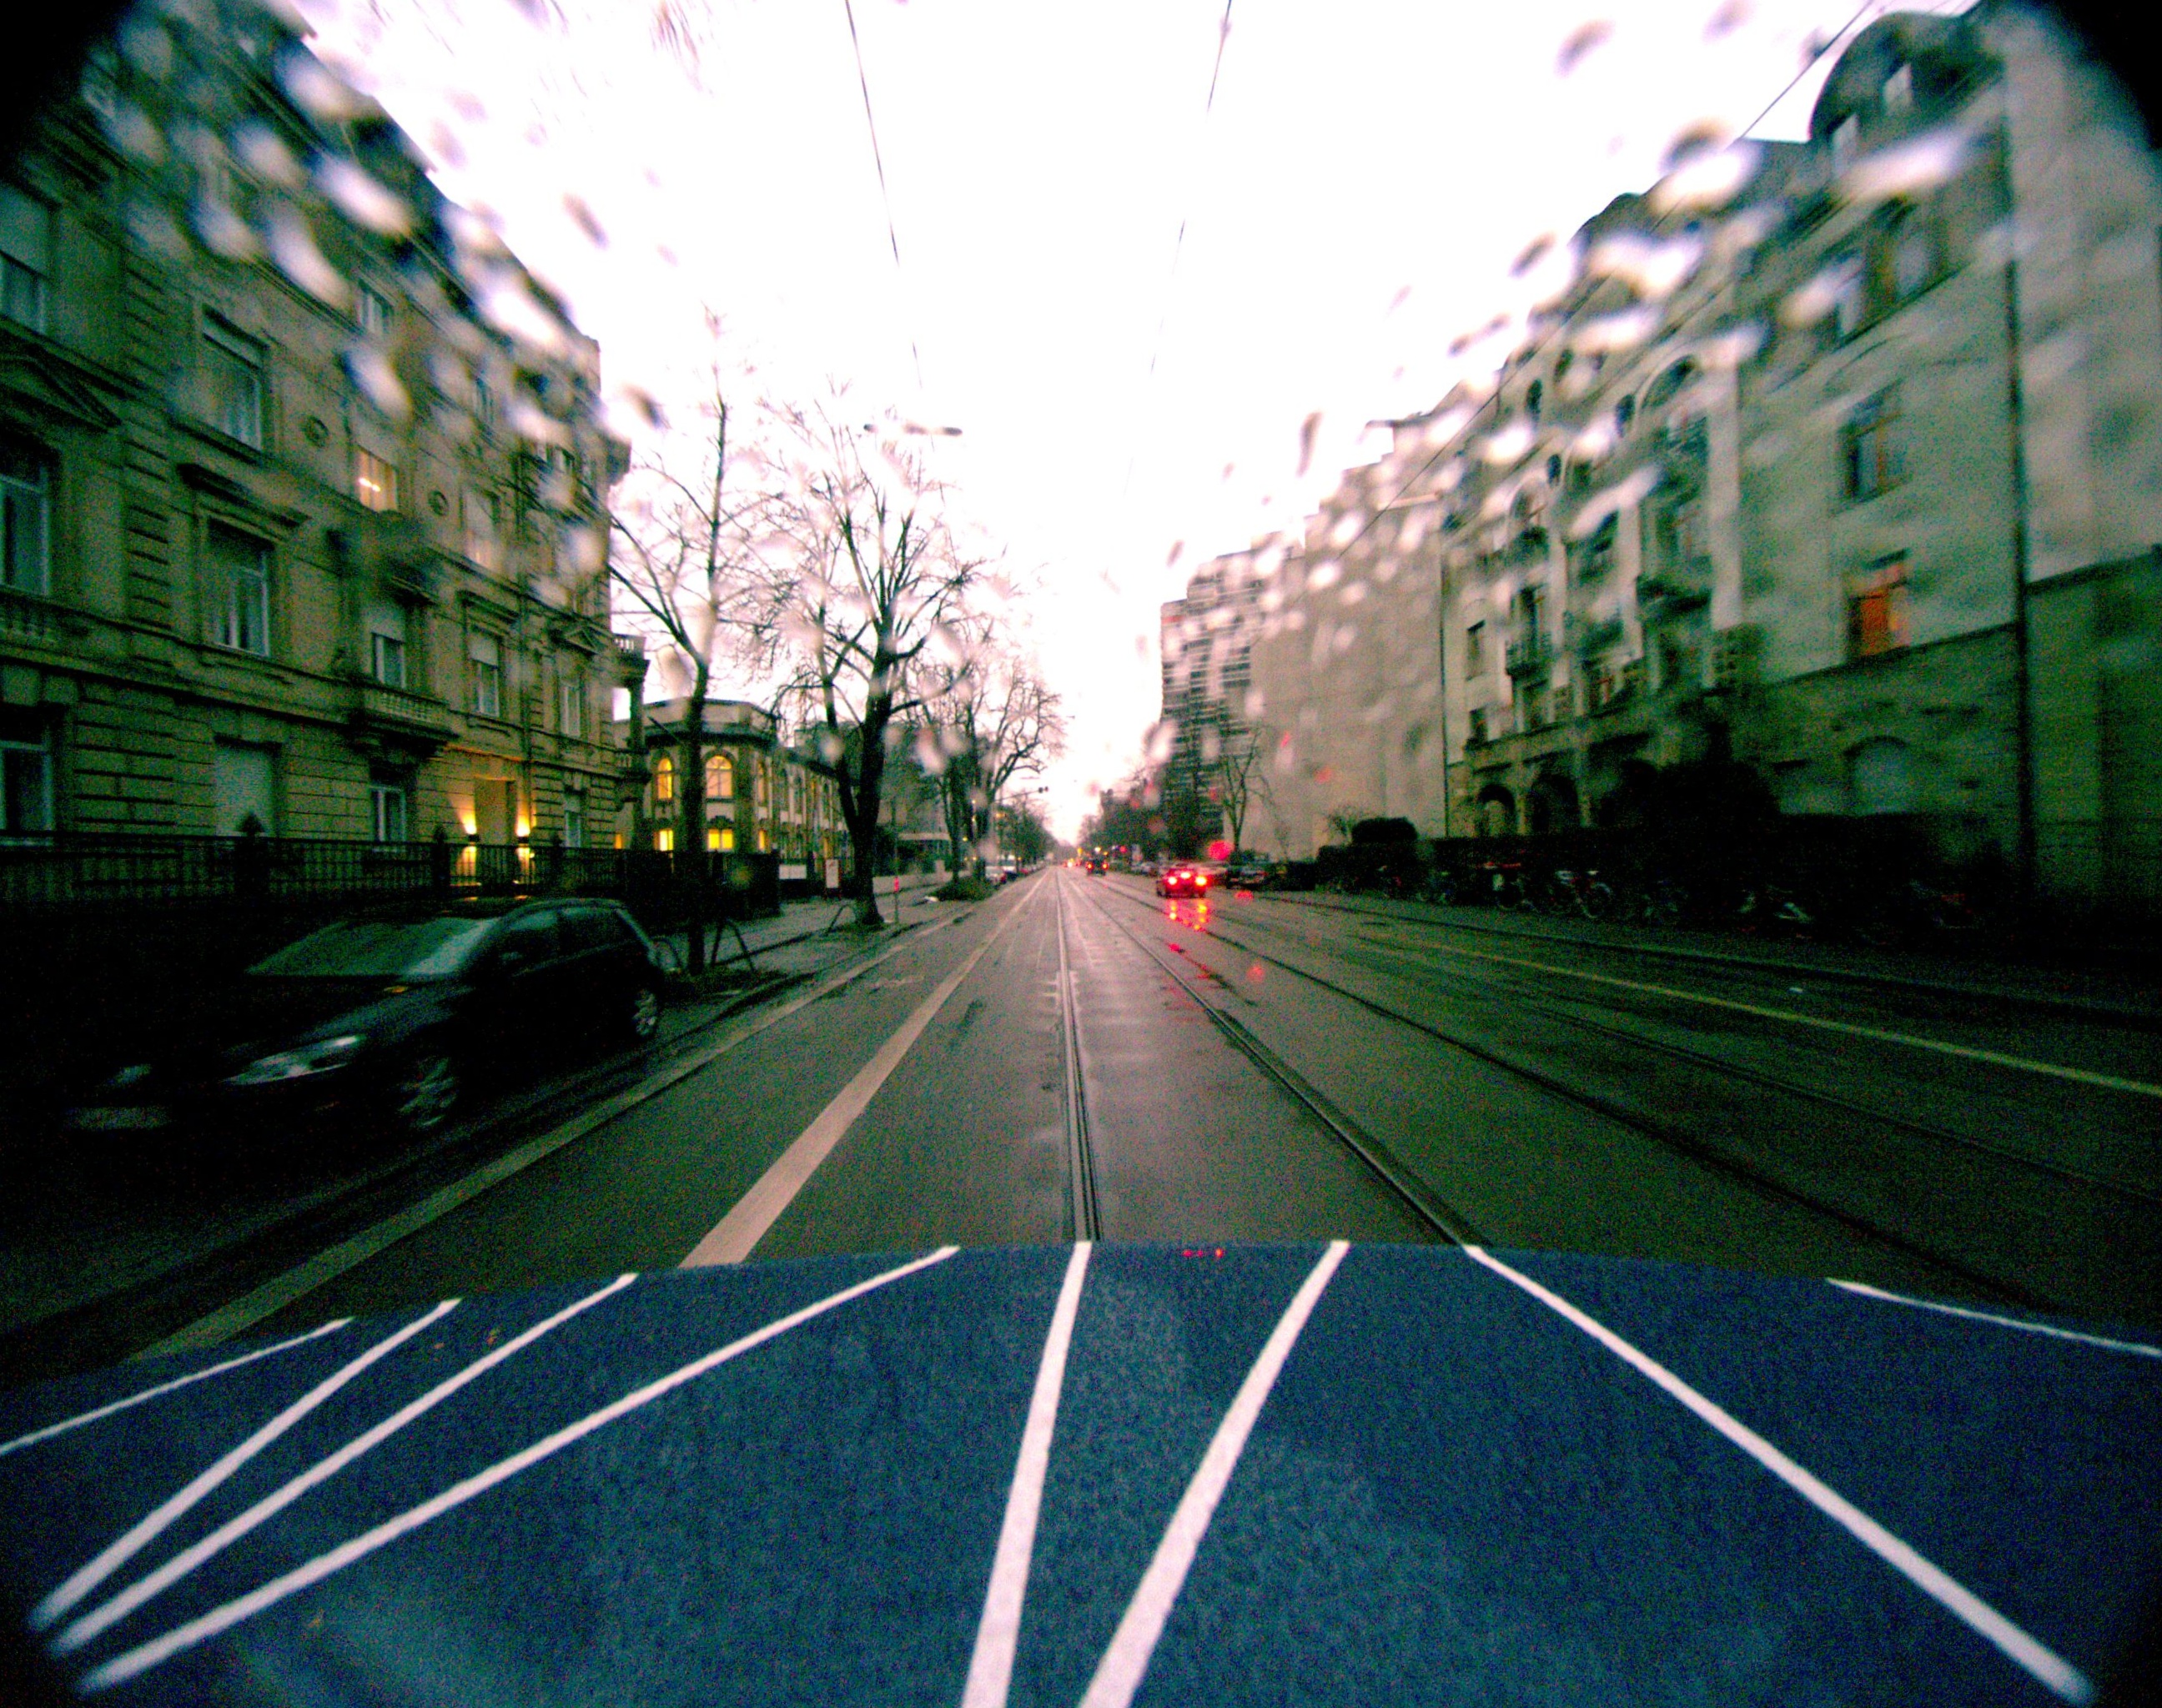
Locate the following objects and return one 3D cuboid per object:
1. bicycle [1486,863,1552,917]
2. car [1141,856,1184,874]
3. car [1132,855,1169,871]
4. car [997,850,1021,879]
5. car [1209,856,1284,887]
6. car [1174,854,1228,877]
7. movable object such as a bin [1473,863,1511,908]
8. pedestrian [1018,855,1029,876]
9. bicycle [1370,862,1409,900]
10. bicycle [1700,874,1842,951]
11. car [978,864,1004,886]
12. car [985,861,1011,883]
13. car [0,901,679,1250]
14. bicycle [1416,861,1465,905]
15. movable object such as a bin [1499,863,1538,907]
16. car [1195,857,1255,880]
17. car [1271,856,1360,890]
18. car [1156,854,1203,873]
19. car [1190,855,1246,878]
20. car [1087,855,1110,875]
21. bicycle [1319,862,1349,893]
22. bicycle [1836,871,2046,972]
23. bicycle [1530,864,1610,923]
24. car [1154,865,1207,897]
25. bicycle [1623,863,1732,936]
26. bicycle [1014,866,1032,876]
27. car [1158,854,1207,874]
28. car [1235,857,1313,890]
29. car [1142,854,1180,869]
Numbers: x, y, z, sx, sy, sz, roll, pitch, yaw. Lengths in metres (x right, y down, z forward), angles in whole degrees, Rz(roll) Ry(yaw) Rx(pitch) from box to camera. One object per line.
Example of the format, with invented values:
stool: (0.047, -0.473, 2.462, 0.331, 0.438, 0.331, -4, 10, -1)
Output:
bicycle: (10.482, 0.836, 18.236, 0.625, 1.205, 1.662, -2, 0, 1)
car: (7.938, 1.052, 74.135, 4.007, 1.586, 1.864, -2, 0, -38)
car: (8.048, 1.036, 87.519, 4.007, 1.586, 1.864, -2, 0, -38)
car: (-6.929, 0.951, 73.417, 2.093, 2.622, 5.447, -2, 1, -5)
car: (9.215, 0.949, 42.203, 4.007, 1.586, 1.864, -2, 0, -38)
car: (9.393, 0.896, 59.250, 4.007, 1.586, 1.864, -2, 0, -38)
movable object such as a bin: (11.144, 0.846, 20.615, 0.659, 1.157, 0.675, -2, 0, 1)
pedestrian: (-6.354, 1.259, 83.684, 1.118, 2.246, 0.952, -2, 1, -4)
bicycle: (10.096, 0.866, 24.915, 0.625, 1.205, 1.662, -2, 0, 1)
bicycle: (10.646, 0.860, 11.809, 0.625, 1.059, 1.727, -2, 0, 1)
car: (-6.320, 1.442, 53.756, 1.628, 1.399, 3.998, -2, 1, -5)
car: (-6.889, 1.492, 63.534, 1.999, 1.672, 3.998, -2, 1, -5)
car: (-4.917, 1.177, 5.677, 1.762, 1.437, 4.157, 0, -1, -3)
bicycle: (10.427, 0.816, 22.067, 0.625, 1.205, 1.662, -2, 0, 1)
movable object such as a bin: (11.832, 0.825, 20.564, 0.625, 1.157, 0.675, -2, 0, 1)
car: (9.957, 1.006, 52.550, 4.007, 1.440, 1.864, -2, 0, -38)
car: (11.361, 0.904, 36.839, 4.006, 1.485, 1.865, -2, 0, -30)
car: (8.928, 0.873, 68.740, 4.007, 1.586, 1.864, -2, 0, -38)
car: (10.202, 0.939, 56.532, 4.007, 1.586, 1.864, -2, 0, -38)
car: (1.924, 1.228, 85.930, 2.239, 2.002, 4.460, -2, 1, -2)
bicycle: (9.917, 0.915, 29.833, 0.625, 1.157, 1.662, -2, 0, 1)
bicycle: (10.749, 0.796, 9.604, 0.625, 1.119, 1.783, -2, 0, 1)
bicycle: (10.453, 0.818, 16.307, 0.625, 1.157, 1.662, -2, 0, 1)
car: (4.238, 1.116, 32.850, 1.711, 1.245, 3.665, -1, 0, -2)
bicycle: (10.603, 0.769, 13.582, 0.625, 1.205, 1.662, -2, 0, 1)
bicycle: (-6.421, 1.852, 83.709, 1.918, 0.986, 0.858, -2, 1, -4)
car: (8.777, 0.889, 65.704, 4.007, 1.586, 1.864, -2, 0, -38)
car: (9.937, 0.976, 39.070, 4.007, 1.477, 1.760, -2, 0, -38)
car: (8.982, 0.831, 85.468, 4.007, 1.586, 1.864, -2, 0, -38)
